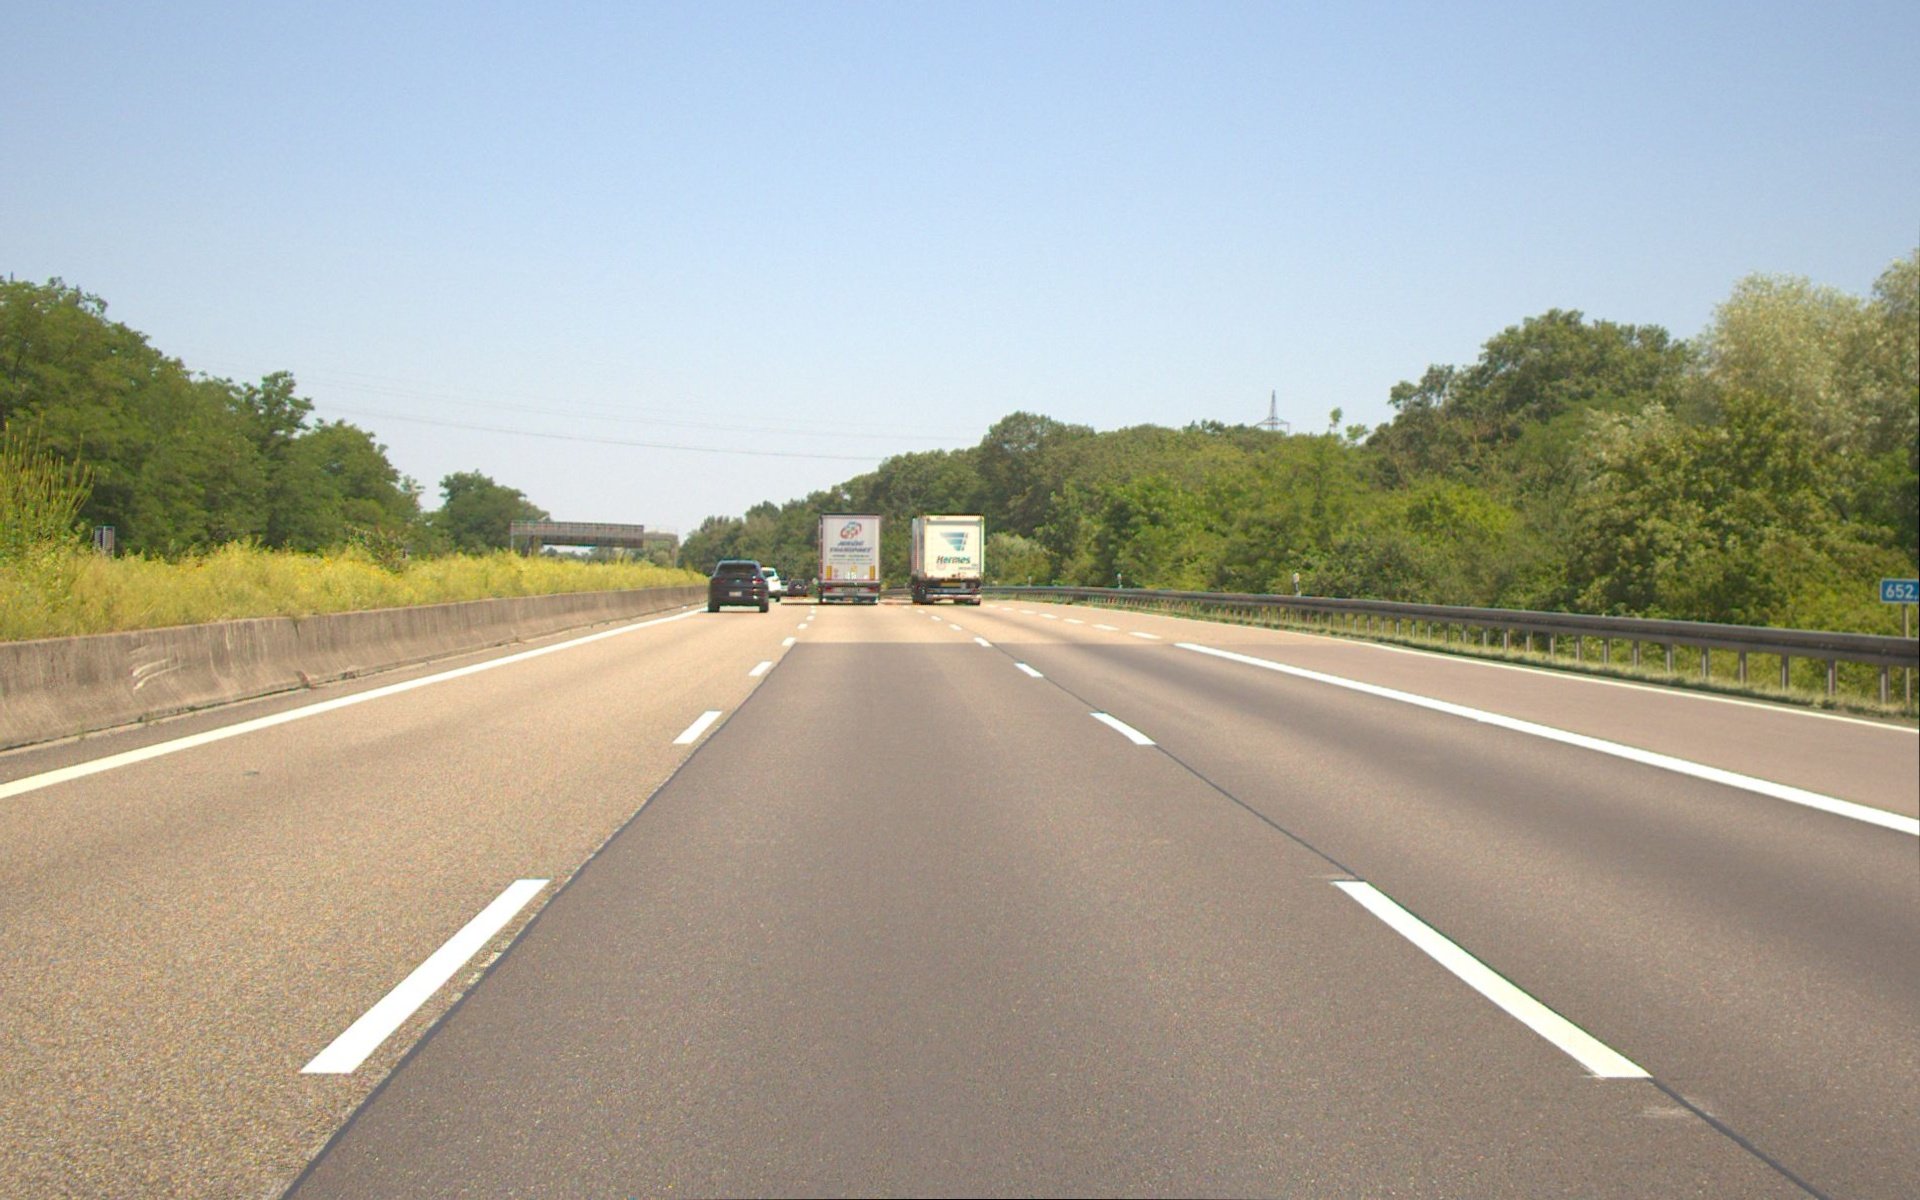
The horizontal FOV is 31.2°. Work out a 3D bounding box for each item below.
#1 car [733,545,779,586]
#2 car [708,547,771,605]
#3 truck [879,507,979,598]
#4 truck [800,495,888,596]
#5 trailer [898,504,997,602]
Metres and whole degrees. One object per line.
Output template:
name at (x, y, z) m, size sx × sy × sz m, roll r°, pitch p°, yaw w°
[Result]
car at (-9.975, -1.702, 167.807) m, size 1.993 × 1.868 × 4.001 m, roll 2°, pitch 1°, yaw -7°
car at (-7.375, -0.824, 115.264) m, size 1.993 × 1.868 × 4.001 m, roll 1°, pitch 1°, yaw -2°
truck at (-1.522, -2.229, 159.014) m, size 3.325 × 4.039 × 10.956 m, roll 1°, pitch 1°, yaw -7°
truck at (-5.060, -2.358, 148.506) m, size 3.229 × 4.187 × 8.467 m, roll 1°, pitch 1°, yaw -5°
trailer at (-0.600, -2.077, 151.122) m, size 3.367 × 4.128 × 9.093 m, roll 1°, pitch 1°, yaw -6°
